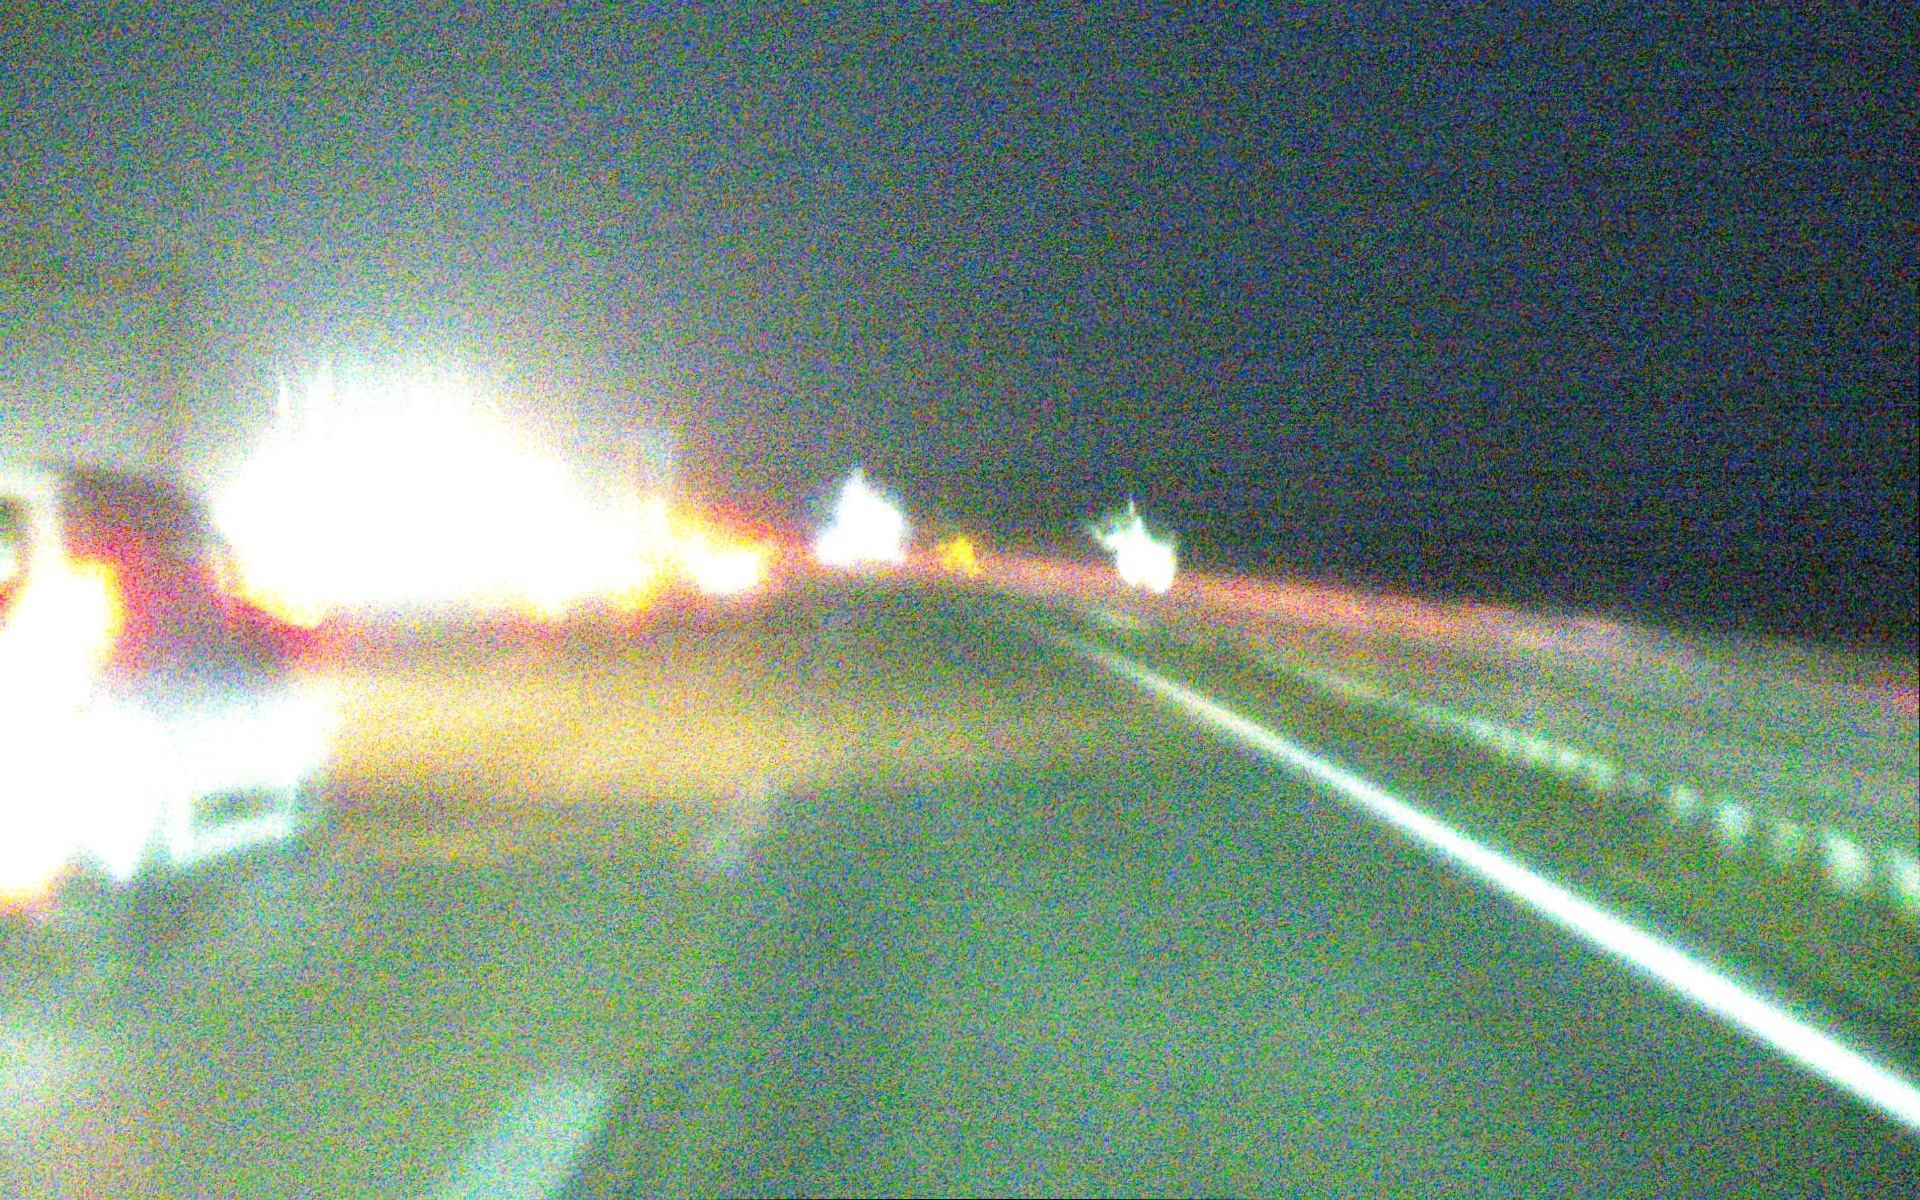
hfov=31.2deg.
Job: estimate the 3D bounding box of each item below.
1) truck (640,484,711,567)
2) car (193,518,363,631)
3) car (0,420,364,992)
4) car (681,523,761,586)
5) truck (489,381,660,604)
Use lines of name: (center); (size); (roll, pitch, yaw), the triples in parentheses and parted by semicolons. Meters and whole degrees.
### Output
truck: (-17.819, -4.598, 214.421); (3.823, 4.898, 11.609); (1, 1, -7)
car: (-10.842, -0.412, 54.934); (1.993, 1.701, 4.196); (1, 1, -2)
car: (-3.749, 0.287, 13.312); (1.953, 1.786, 5.124); (1, 1, 0)
car: (-6.815, -1.296, 97.756); (1.993, 1.701, 4.196); (1, 1, -7)
truck: (-10.470, -2.770, 92.808); (4.166, 5.525, 13.077); (1, 1, -7)
